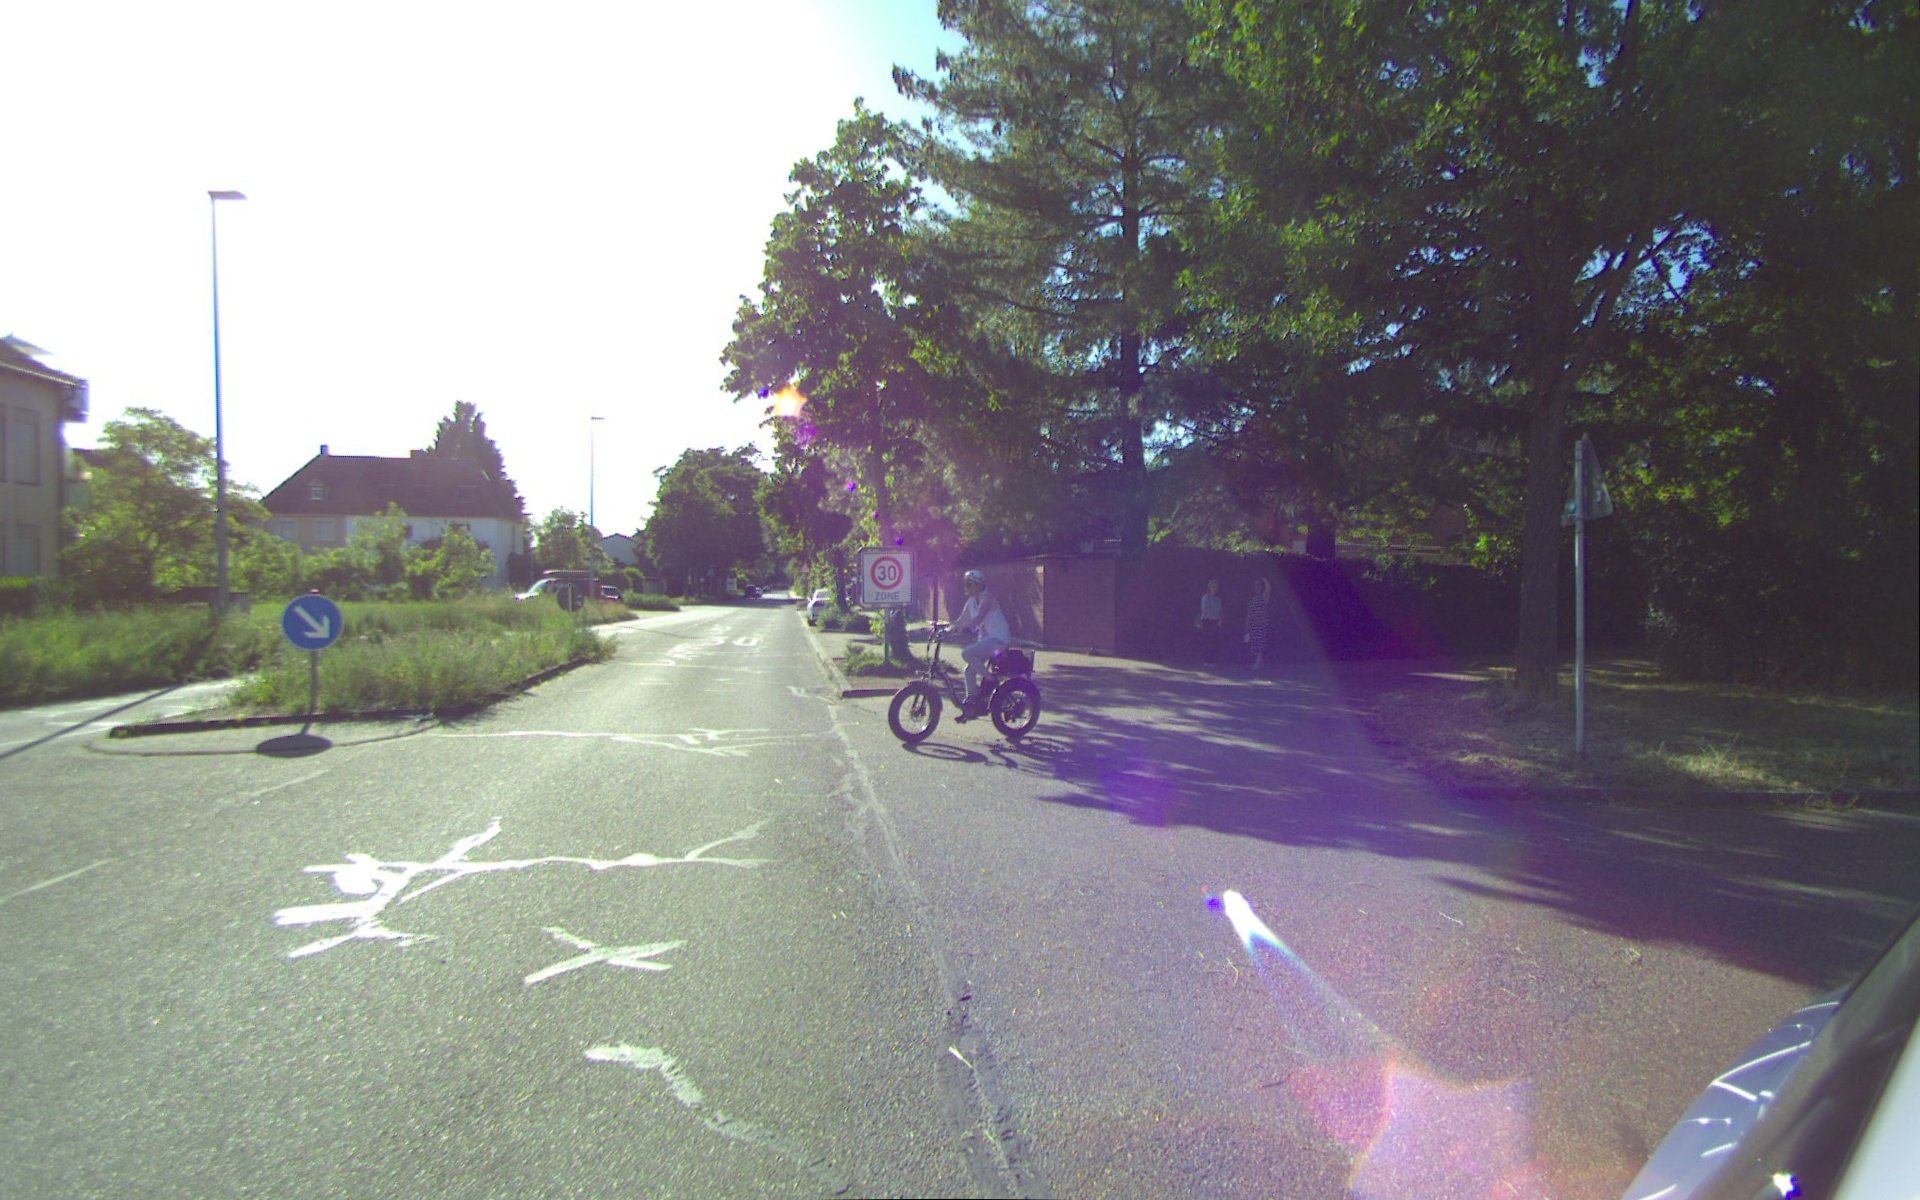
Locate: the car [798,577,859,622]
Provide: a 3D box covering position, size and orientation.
[{"bbox_3d":[-5.312,-0.073,40.501,1.958,1.679,4.009,0,1,-15],"label":"car"}]

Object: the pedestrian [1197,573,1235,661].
[{"bbox_3d":[4.537,0.290,17.906,0.528,1.539,0.396,0,1,-33],"label":"pedestrian"}]

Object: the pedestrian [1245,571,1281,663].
[{"bbox_3d":[5.317,0.281,17.755,0.388,1.580,0.539,1,1,-7],"label":"pedestrian"}]

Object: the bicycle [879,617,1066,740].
[{"bbox_3d":[0.137,0.766,10.275,1.858,1.159,0.459,0,1,-23],"label":"bicycle"}]

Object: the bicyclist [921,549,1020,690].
[{"bbox_3d":[0.103,0.176,10.261,0.821,1.364,0.640,0,1,-23],"label":"bicyclist"}]

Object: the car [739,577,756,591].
[{"bbox_3d":[-28.844,-2.151,137.368,1.959,1.838,4.007,0,1,-9],"label":"car"}]

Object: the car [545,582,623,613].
[{"bbox_3d":[-18.303,-0.141,49.322,3.328,1.459,1.617,-1,1,-31],"label":"car"}]

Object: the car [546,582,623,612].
[{"bbox_3d":[-19.199,-0.167,51.755,3.466,1.434,1.682,-1,1,-31],"label":"car"}]

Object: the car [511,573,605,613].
[{"bbox_3d":[-18.225,-0.369,45.958,1.744,1.738,3.592,1,2,45],"label":"car"}]
